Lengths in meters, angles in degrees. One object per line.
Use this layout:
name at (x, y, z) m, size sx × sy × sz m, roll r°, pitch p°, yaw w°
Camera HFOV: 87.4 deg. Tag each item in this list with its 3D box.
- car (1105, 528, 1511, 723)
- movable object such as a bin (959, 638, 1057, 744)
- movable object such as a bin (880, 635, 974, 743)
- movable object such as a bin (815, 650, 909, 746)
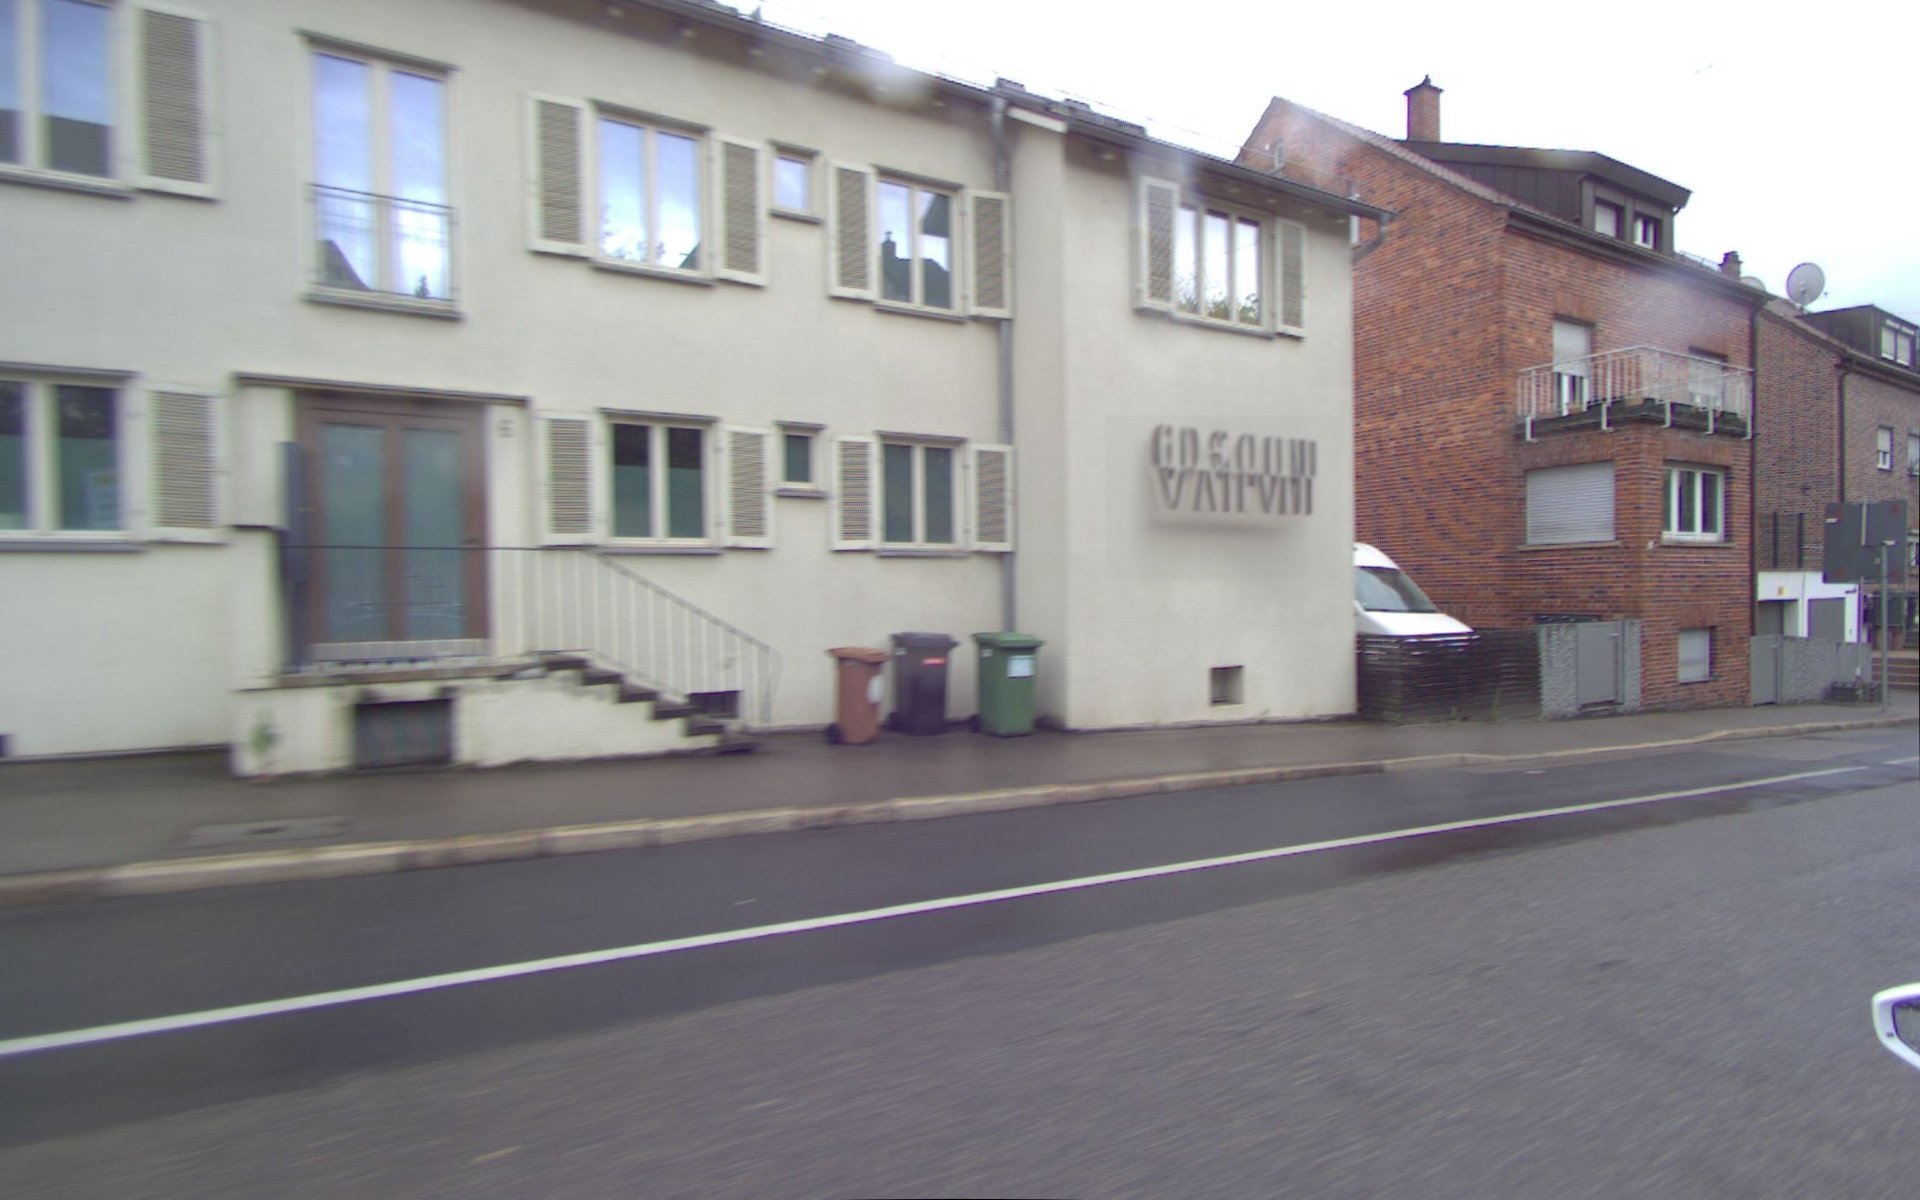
car at (5.348, 0.385, 16.805) m, size 2.142 × 2.587 × 6.623 m, roll 3°, pitch -1°, yaw -29°
movable object such as a bin at (0.509, 0.953, 10.830) m, size 0.729 × 1.060 × 0.778 m, roll 1°, pitch 0°, yaw -30°
movable object such as a bin at (-0.358, 0.925, 10.727) m, size 0.700 × 1.060 × 0.778 m, roll 1°, pitch 0°, yaw -30°
movable object such as a bin at (-0.977, 0.952, 9.947) m, size 0.700 × 0.871 × 0.670 m, roll 2°, pitch 0°, yaw -30°
